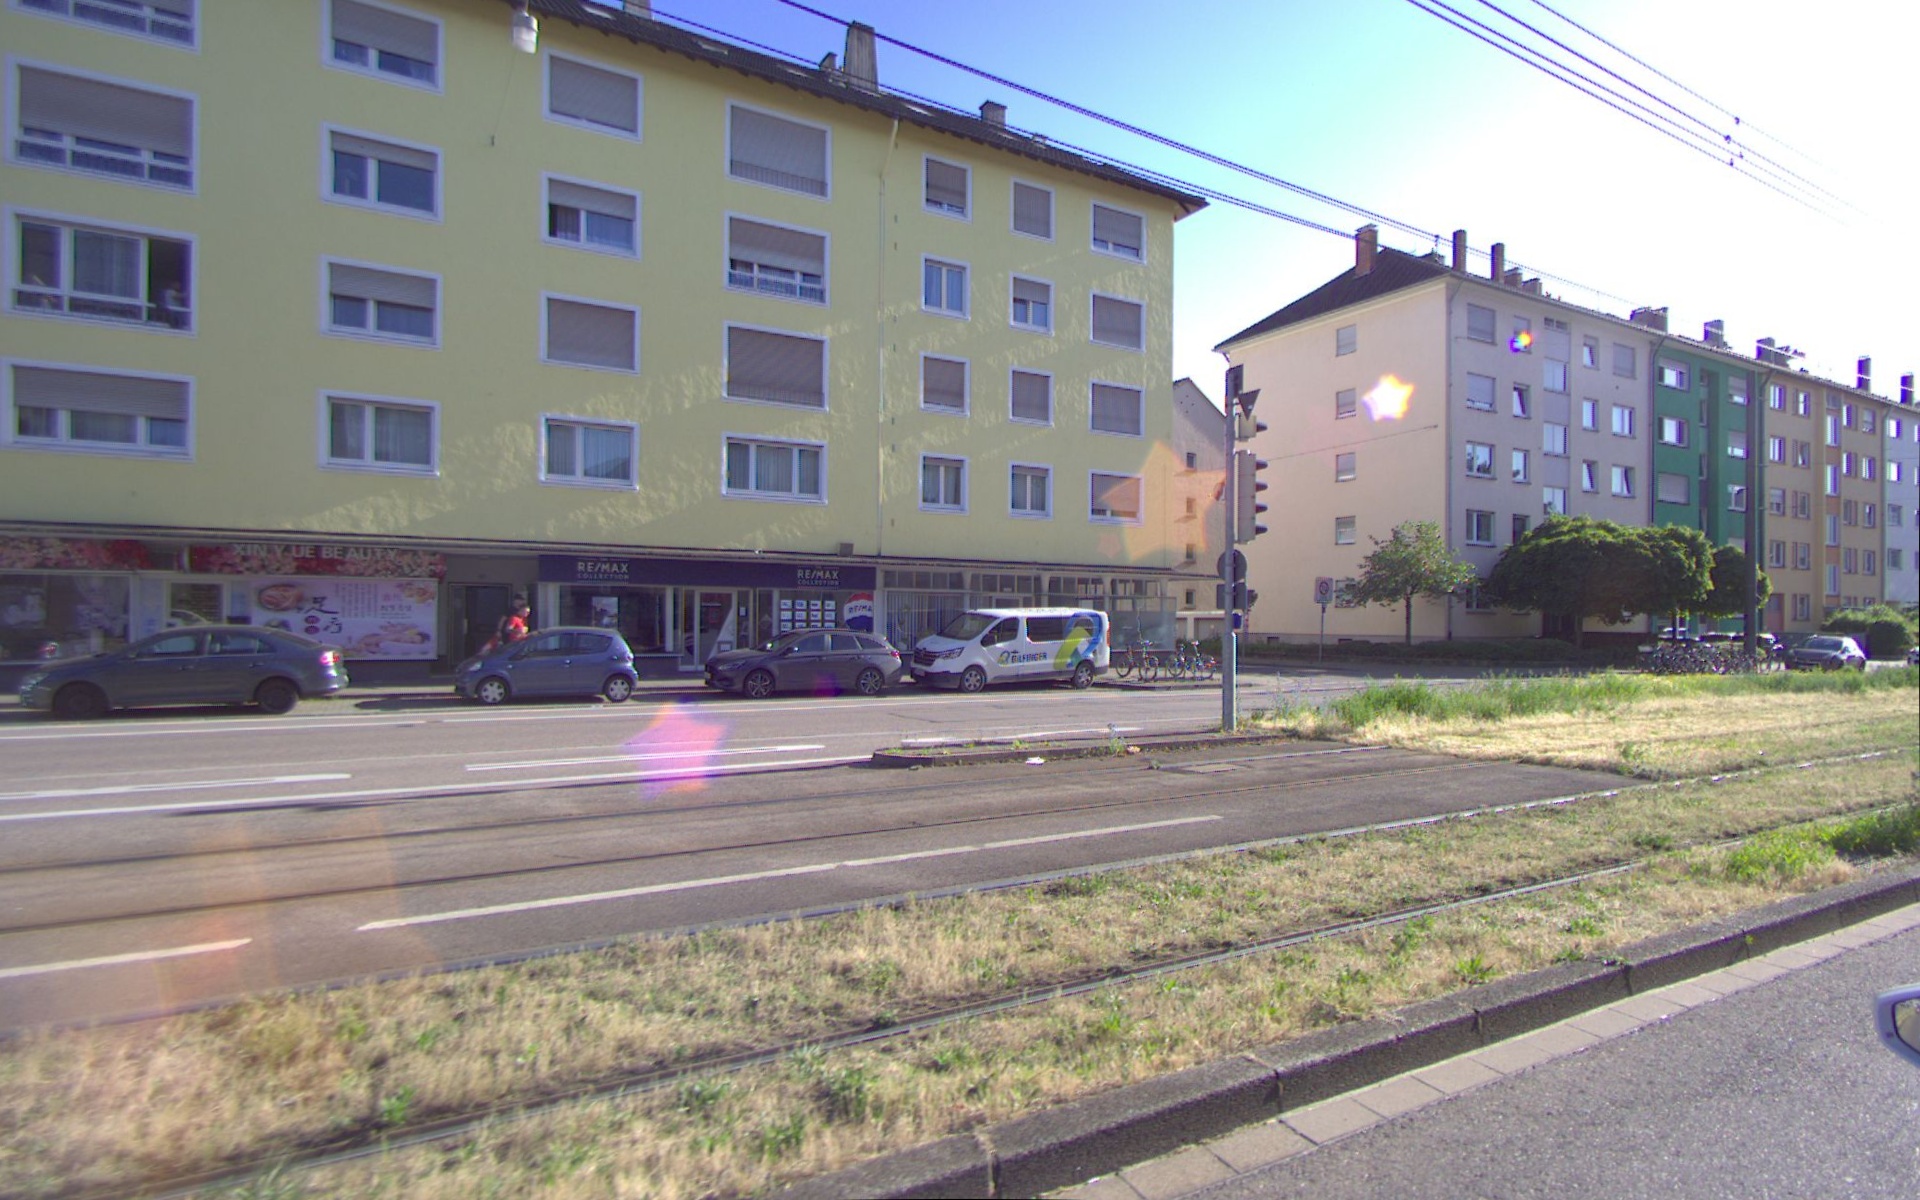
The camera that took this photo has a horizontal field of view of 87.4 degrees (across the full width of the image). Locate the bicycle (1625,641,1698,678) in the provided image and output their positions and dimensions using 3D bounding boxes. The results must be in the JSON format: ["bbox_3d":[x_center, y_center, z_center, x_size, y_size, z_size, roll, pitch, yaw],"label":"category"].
[{"bbox_3d":[24.374,2.039,34.942,0.607,1.107,2.043,1,1,-23],"label":"bicycle"}]

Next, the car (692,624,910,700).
[{"bbox_3d":[-3.562,1.353,22.748,4.542,1.494,1.774,1,1,-30],"label":"car"}]

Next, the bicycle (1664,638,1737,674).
[{"bbox_3d":[26.371,1.989,35.814,0.607,1.107,2.043,1,1,-23],"label":"bicycle"}]

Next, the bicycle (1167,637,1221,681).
[{"bbox_3d":[6.776,1.683,29.128,0.386,1.120,1.811,1,1,-29],"label":"bicycle"}]

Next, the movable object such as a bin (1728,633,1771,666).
[{"bbox_3d":[35.885,2.236,45.658,1.026,1.386,1.142,2,1,-27],"label":"movable object such as a bin"}]

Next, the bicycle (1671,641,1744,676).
[{"bbox_3d":[26.929,2.085,36.212,0.607,1.107,2.043,1,1,-23],"label":"bicycle"}]

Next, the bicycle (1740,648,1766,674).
[{"bbox_3d":[29.082,2.226,36.809,2.039,0.877,0.373,1,2,-42],"label":"bicycle"}]

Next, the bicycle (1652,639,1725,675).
[{"bbox_3d":[25.714,2.007,35.509,0.607,1.107,2.043,1,1,-23],"label":"bicycle"}]

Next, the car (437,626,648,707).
[{"bbox_3d":[-8.367,1.278,20.171,3.724,1.403,1.774,1,1,-30],"label":"car"}]

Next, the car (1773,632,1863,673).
[{"bbox_3d":[33.828,2.055,39.589,3.693,1.461,1.626,1,1,-32],"label":"car"}]

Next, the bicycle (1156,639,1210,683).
[{"bbox_3d":[6.400,1.731,28.942,0.386,1.120,1.811,1,1,-29],"label":"bicycle"}]

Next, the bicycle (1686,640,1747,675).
[{"bbox_3d":[27.952,2.101,37.160,0.603,1.107,2.054,2,1,-2],"label":"bicycle"}]

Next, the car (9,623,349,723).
[{"bbox_3d":[-13.067,1.169,17.219,4.363,1.439,1.774,1,1,-30],"label":"car"}]

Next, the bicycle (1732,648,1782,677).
[{"bbox_3d":[28.918,2.259,36.466,0.410,0.881,1.585,2,1,-7],"label":"bicycle"}]

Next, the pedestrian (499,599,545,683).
[{"bbox_3d":[-9.587,0.884,21.962,0.835,1.767,0.668,1,2,-30],"label":"pedestrian"}]

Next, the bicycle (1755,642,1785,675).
[{"bbox_3d":[29.425,2.098,36.473,1.921,1.107,0.504,1,2,-42],"label":"bicycle"}]

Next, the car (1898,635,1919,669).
[{"bbox_3d":[45.012,2.381,46.077,4.324,1.474,1.720,1,0,-30],"label":"car"}]

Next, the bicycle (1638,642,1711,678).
[{"bbox_3d":[25.051,2.089,35.247,0.607,1.107,2.043,1,1,-23],"label":"bicycle"}]

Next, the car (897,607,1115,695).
[{"bbox_3d":[1.256,1.252,25.816,5.442,1.975,1.982,1,1,-33],"label":"car"}]

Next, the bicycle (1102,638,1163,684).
[{"bbox_3d":[4.799,1.681,28.139,0.467,1.120,2.088,1,1,-29],"label":"bicycle"}]

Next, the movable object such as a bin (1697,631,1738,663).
[{"bbox_3d":[35.314,2.196,46.817,1.026,1.386,1.142,2,1,-27],"label":"movable object such as a bin"}]

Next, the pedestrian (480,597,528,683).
[{"bbox_3d":[-10.325,0.904,22.735,0.913,1.885,0.668,1,2,-30],"label":"pedestrian"}]
